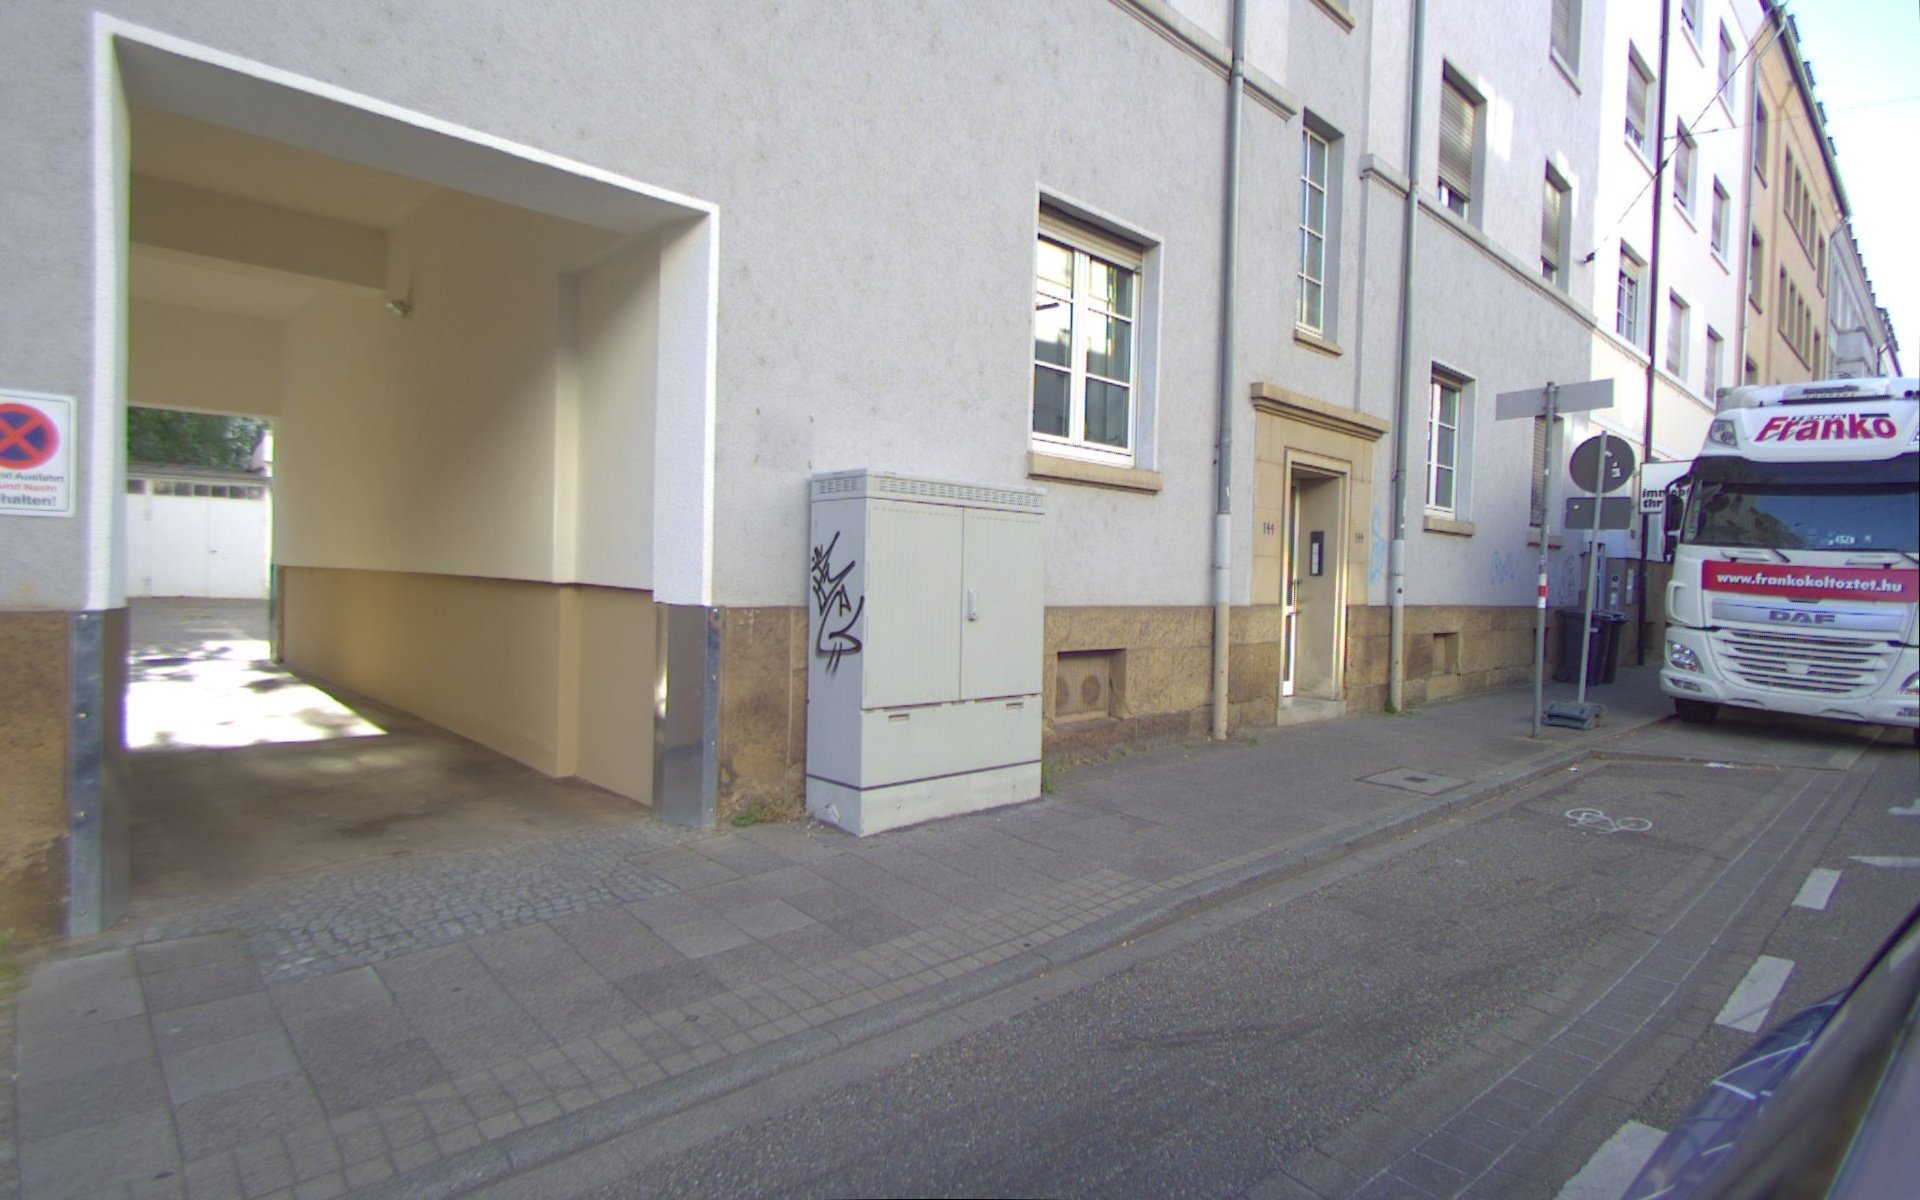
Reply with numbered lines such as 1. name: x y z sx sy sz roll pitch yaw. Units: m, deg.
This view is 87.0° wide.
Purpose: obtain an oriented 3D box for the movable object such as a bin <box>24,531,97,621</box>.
1. movable object such as a bin: -14.778 -0.401 16.626 0.874 1.409 0.758 0 4 -44

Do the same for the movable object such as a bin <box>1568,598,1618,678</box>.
1. movable object such as a bin: 9.072 0.534 14.513 0.511 1.106 0.488 0 0 45

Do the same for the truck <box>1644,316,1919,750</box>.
1. truck: 12.540 -0.611 13.865 11.511 4.012 2.894 0 0 -44

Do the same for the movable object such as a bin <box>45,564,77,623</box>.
1. movable object such as a bin: -14.331 -0.108 16.130 0.366 0.919 0.420 0 3 -44

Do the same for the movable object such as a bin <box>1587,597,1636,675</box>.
1. movable object such as a bin: 9.610 0.517 14.931 0.511 1.106 0.488 0 0 45
